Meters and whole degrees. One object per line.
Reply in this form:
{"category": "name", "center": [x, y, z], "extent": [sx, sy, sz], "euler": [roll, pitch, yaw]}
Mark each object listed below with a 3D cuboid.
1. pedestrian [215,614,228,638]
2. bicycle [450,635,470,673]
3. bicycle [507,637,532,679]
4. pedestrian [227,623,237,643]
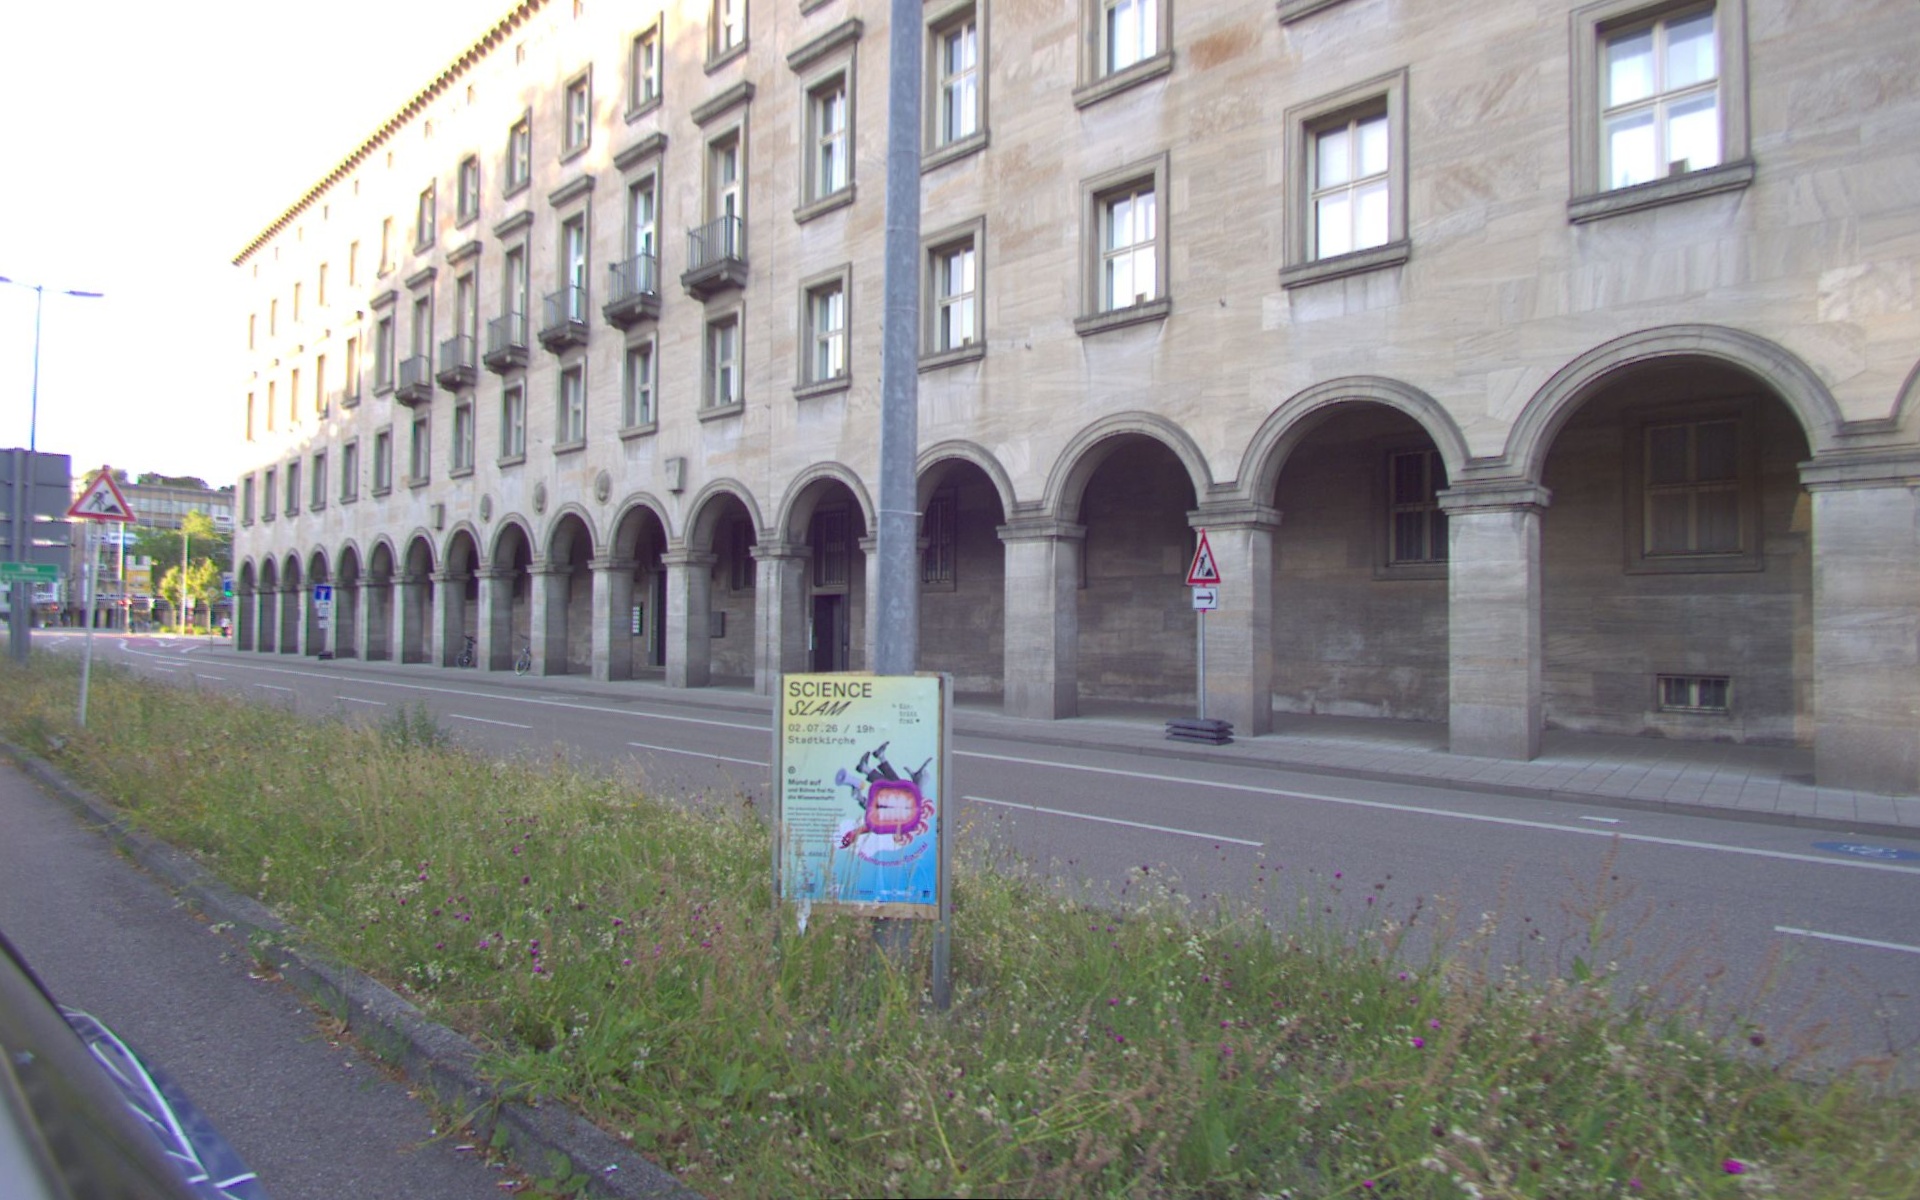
{"category": "pedestrian", "center": [-57.140, 2.015, 78.299], "extent": [0.506, 1.771, 0.630], "euler": [-1, -3, 41]}
{"category": "bicycle", "center": [-16.582, 1.774, 33.558], "extent": [0.505, 1.188, 2.431], "euler": [2, -2, -25]}
{"category": "bicycle", "center": [-13.247, 1.722, 30.444], "extent": [0.505, 1.130, 2.431], "euler": [1, -1, -20]}
{"category": "pedestrian", "center": [-56.674, 2.546, 78.789], "extent": [0.389, 1.553, 0.519], "euler": [-1, -3, 41]}
